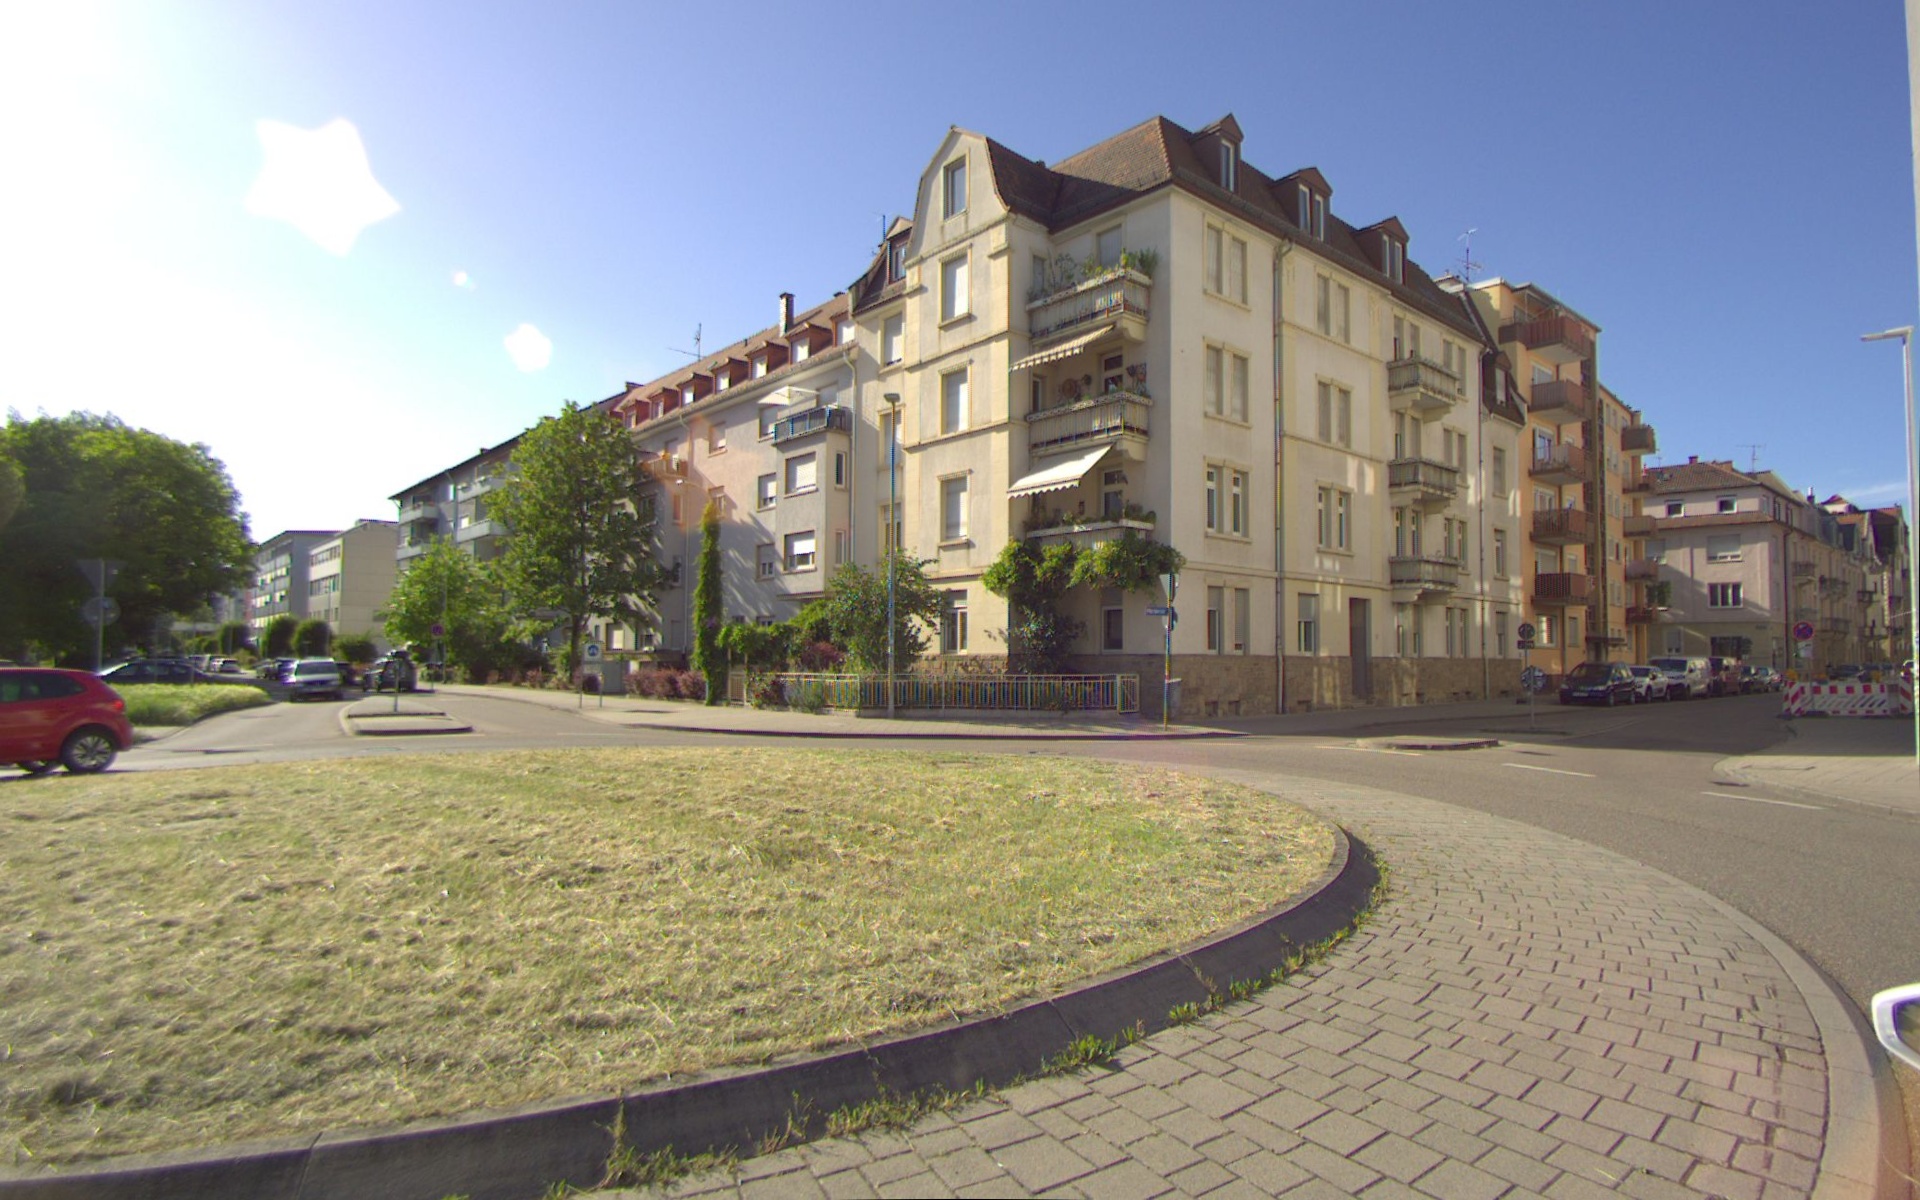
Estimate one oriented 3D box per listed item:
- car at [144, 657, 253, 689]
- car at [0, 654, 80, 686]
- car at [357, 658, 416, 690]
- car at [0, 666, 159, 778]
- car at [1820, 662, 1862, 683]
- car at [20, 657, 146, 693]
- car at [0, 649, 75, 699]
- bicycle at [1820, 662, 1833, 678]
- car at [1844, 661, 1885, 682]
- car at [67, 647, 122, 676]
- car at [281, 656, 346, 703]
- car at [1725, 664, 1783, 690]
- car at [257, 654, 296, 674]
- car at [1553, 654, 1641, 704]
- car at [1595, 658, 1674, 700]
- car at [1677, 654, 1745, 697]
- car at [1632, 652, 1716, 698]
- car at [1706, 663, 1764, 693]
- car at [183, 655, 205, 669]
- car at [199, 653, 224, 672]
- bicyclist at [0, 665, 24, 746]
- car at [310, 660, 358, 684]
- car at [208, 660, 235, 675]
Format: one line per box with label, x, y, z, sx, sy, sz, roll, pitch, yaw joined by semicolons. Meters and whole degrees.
car;-37.123;3.549;49.016;1.826;1.505;3.978;-3;-4;43
car;-44.881;3.346;48.146;3.968;1.483;1.806;3;-4;-40
car;-28.801;3.684;50.423;1.837;1.559;3.953;3;-4;-40
car;-13.076;1.581;12.917;1.686;1.400;3.994;-3;-4;29
car;65.653;5.397;74.810;4.239;1.445;1.666;4;-2;-39
car;-38.735;3.304;44.511;3.960;1.483;1.981;3;-4;-35
car;-35.198;2.675;36.715;3.960;1.795;1.981;3;-4;-35
bicycle;75.542;6.082;87.550;1.851;1.318;0.536;3;-3;-40
car;73.578;5.807;81.677;4.454;1.603;1.985;4;-2;-42
car;-48.292;3.438;56.024;3.944;1.542;1.841;-3;-4;43
car;-25.582;3.087;39.705;1.863;1.718;4.230;2;-3;-36
car;44.785;4.302;56.598;4.443;1.395;1.748;3;-3;-40
car;-49.435;4.605;72.620;1.837;1.398;3.953;3;-4;-40
car;24.447;2.981;38.502;4.261;1.794;1.747;3;-3;-41
car;28.274;3.276;42.068;4.262;1.642;1.747;3;-3;-41
car;37.302;3.705;49.831;4.897;1.950;1.747;3;-2;-41
car;32.455;3.362;45.616;5.269;1.950;1.958;3;-3;-41
car;41.179;4.091;53.361;3.971;1.522;1.747;3;-5;-42
car;-93.206;7.565;122.185;1.837;1.693;3.953;3;-4;-40
car;-79.469;6.612;106.596;1.837;1.929;3.953;3;-4;-40
bicyclist;-16.291;1.741;16.611;0.796;1.329;0.824;2;-2;-9
car;-37.459;4.287;60.099;1.837;1.398;3.953;3;-4;-40
car;-72.017;6.606;97.916;1.837;1.398;3.953;3;-4;-40
